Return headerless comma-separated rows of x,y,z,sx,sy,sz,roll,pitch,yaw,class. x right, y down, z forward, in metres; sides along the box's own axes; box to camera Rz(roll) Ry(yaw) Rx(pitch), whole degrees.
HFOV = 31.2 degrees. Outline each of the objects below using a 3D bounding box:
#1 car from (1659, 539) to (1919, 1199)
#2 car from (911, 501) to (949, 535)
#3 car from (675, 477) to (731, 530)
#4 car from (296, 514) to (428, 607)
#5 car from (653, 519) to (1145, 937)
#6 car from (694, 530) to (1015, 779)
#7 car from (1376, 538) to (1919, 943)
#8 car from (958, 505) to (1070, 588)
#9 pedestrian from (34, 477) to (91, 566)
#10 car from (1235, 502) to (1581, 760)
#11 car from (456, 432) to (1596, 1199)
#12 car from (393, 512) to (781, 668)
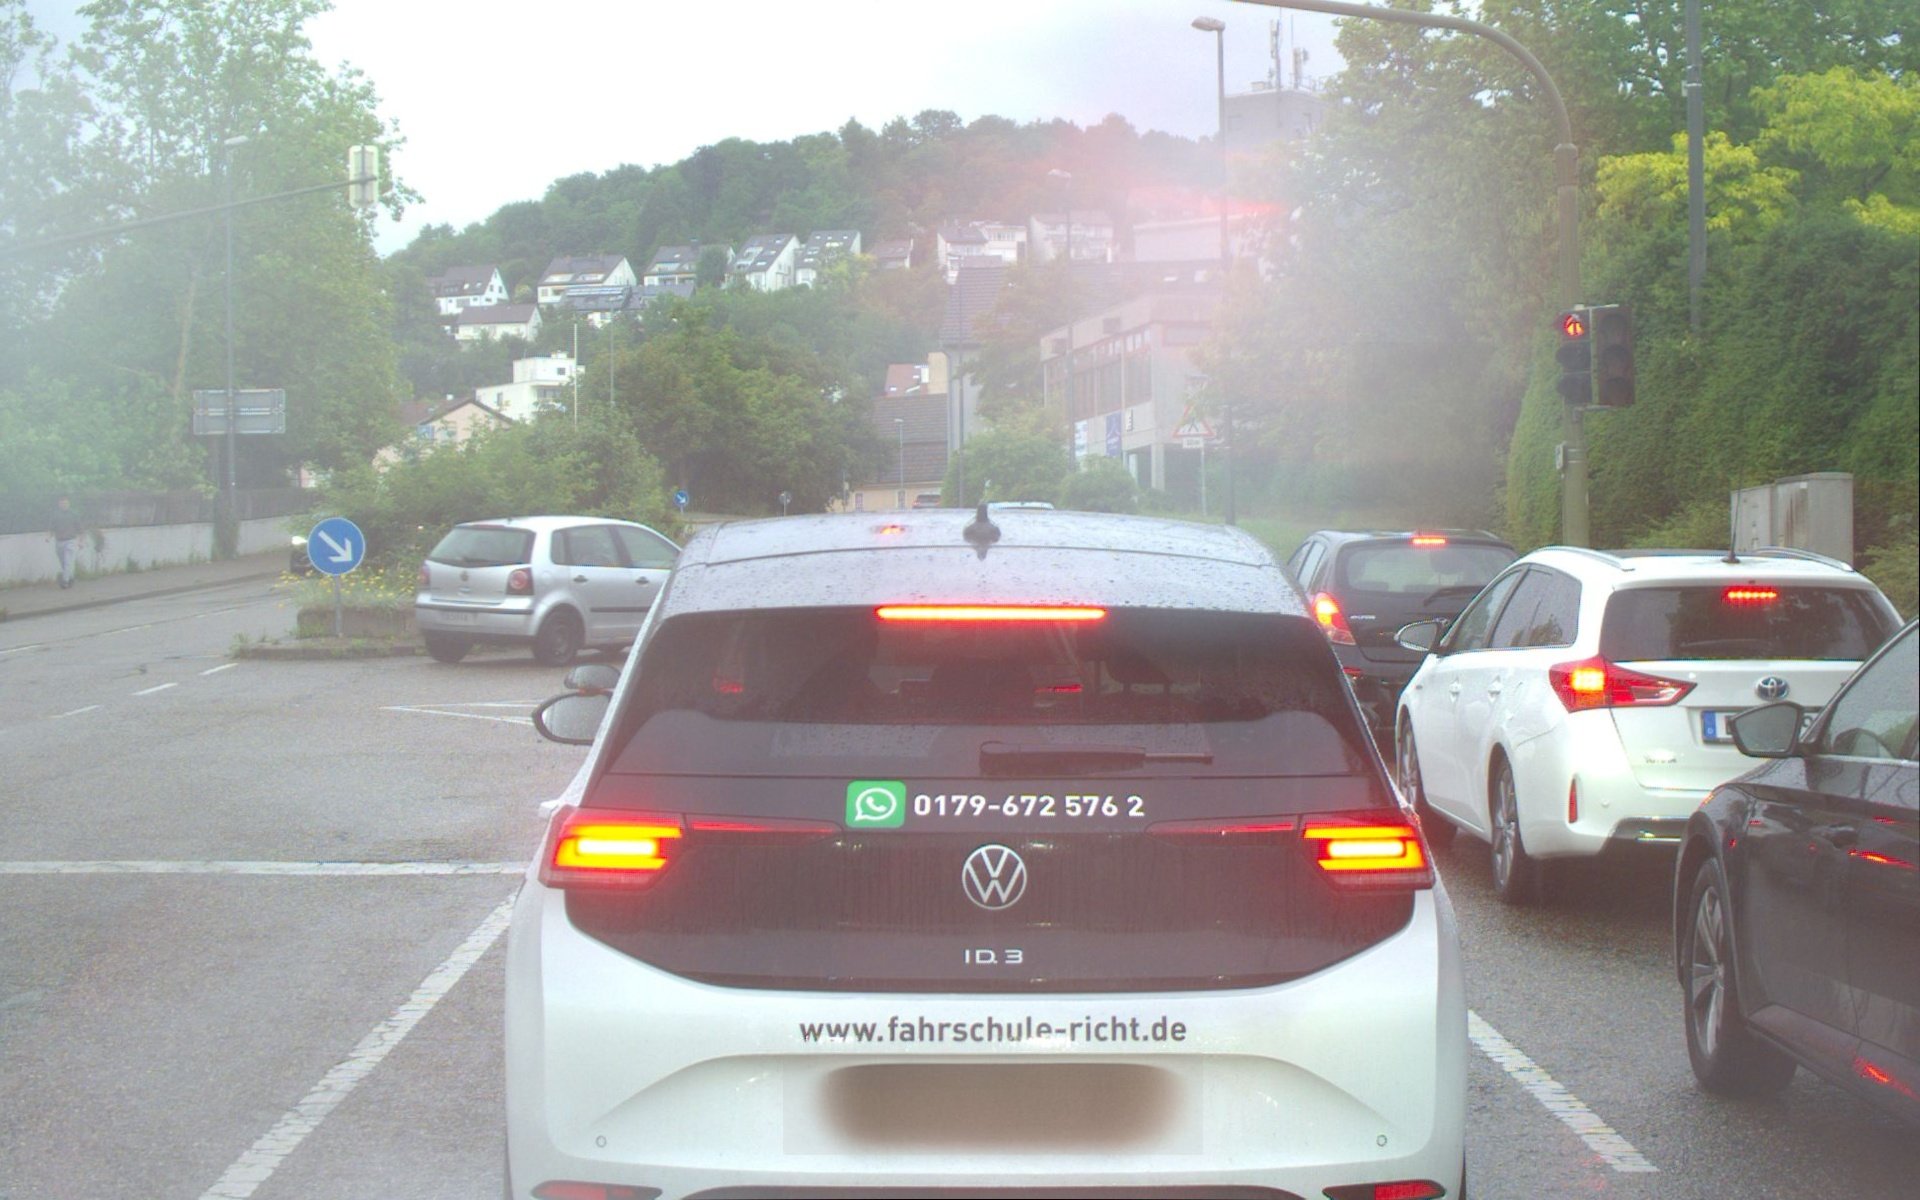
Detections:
2.869,0.631,7.462,1.838,1.461,4.350,1,1,1,car
-1.470,-4.001,168.760,1.775,1.576,4.000,-2,1,0,car
-10.475,-3.915,140.224,1.993,2.007,4.000,1,0,0,car
-12.457,-0.839,71.799,1.993,1.798,4.000,-3,1,0,car
-0.275,0.438,15.160,1.837,1.549,4.175,1,1,-1,car
-0.656,0.281,21.955,1.837,1.395,3.831,1,1,-1,car
3.035,0.497,14.945,1.837,1.461,4.117,1,1,-1,car
0.946,-0.984,62.163,1.761,1.413,3.749,-1,2,-3,car
-16.198,-1.416,62.075,0.760,1.562,0.825,-2,1,-1,pedestrian
2.947,0.168,23.406,1.775,1.576,4.000,1,1,0,car
0.056,0.501,7.933,1.837,1.623,4.616,1,1,-1,car
-3.707,-0.127,34.751,1.584,1.462,3.992,-1,1,36,car
